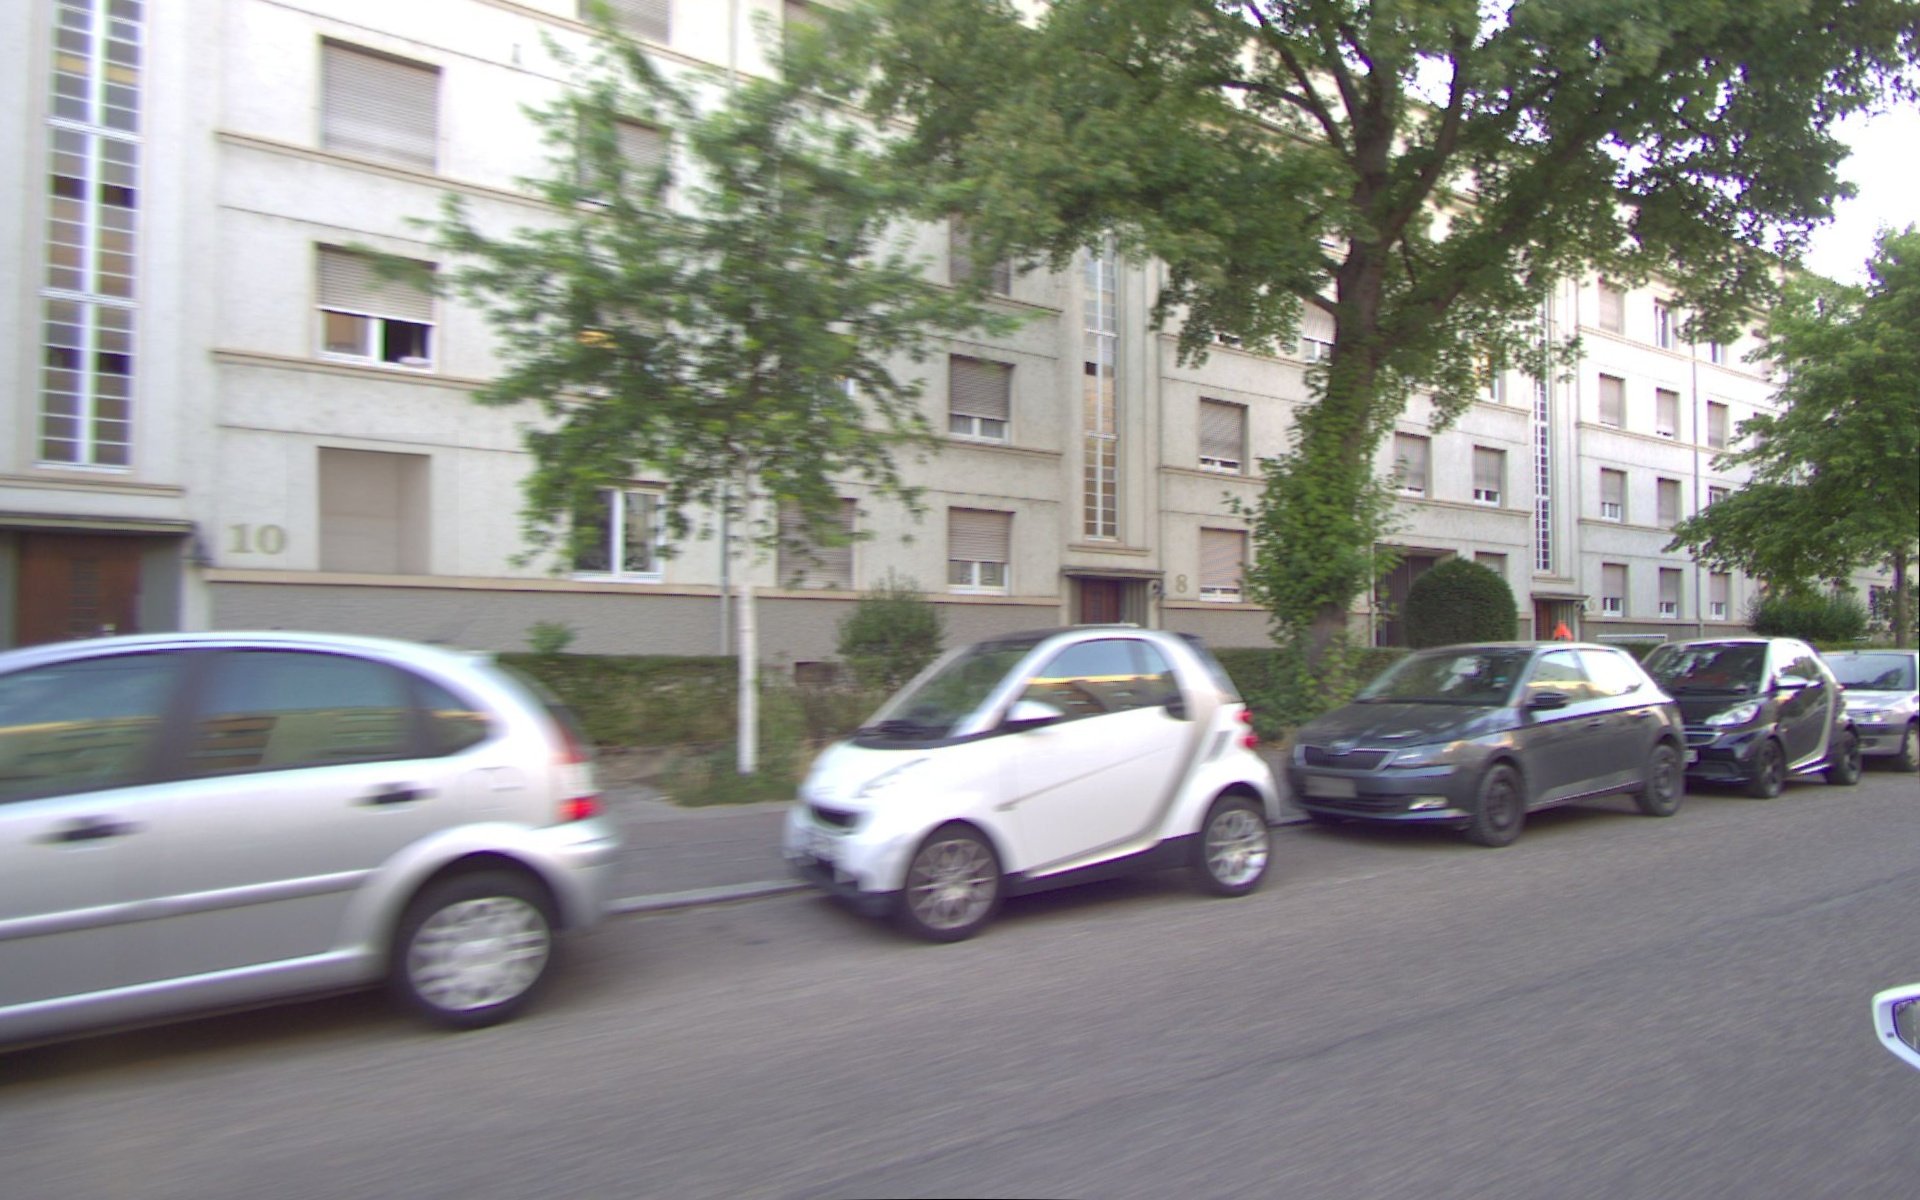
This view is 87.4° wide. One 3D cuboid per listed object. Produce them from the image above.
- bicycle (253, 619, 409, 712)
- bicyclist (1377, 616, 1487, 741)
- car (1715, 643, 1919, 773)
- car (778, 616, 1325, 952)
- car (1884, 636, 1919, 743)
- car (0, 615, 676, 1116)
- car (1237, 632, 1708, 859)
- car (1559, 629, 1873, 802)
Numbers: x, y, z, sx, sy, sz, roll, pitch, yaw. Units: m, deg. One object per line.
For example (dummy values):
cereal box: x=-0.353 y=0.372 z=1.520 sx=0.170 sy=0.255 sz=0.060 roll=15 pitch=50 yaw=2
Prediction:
bicycle: x=-8.865 y=0.911 z=14.237 sx=1.794 sy=1.246 sz=0.554 roll=1 pitch=-2 yaw=-28
bicyclist: x=5.653 y=0.916 z=12.038 sx=0.962 sy=1.422 sz=0.804 roll=1 pitch=-2 yaw=-30
car: x=11.526 y=1.298 z=12.741 sx=4.132 sy=1.422 sz=1.583 roll=2 pitch=-6 yaw=-30
car: x=0.532 y=0.948 z=6.065 sx=2.885 sy=1.548 sz=1.585 roll=1 pitch=-5 yaw=-28
car: x=16.025 y=1.328 z=15.452 sx=4.161 sy=1.558 sz=1.582 roll=2 pitch=-6 yaw=-33
car: x=-3.179 y=0.881 z=3.885 sx=3.755 sy=1.524 sz=1.583 roll=2 pitch=-6 yaw=-31
car: x=4.351 y=1.076 z=8.368 sx=4.056 sy=1.485 sz=1.582 roll=2 pitch=-6 yaw=-32
car: x=7.922 y=1.141 z=10.505 sx=3.129 sy=1.548 sz=1.516 roll=2 pitch=-6 yaw=-32
